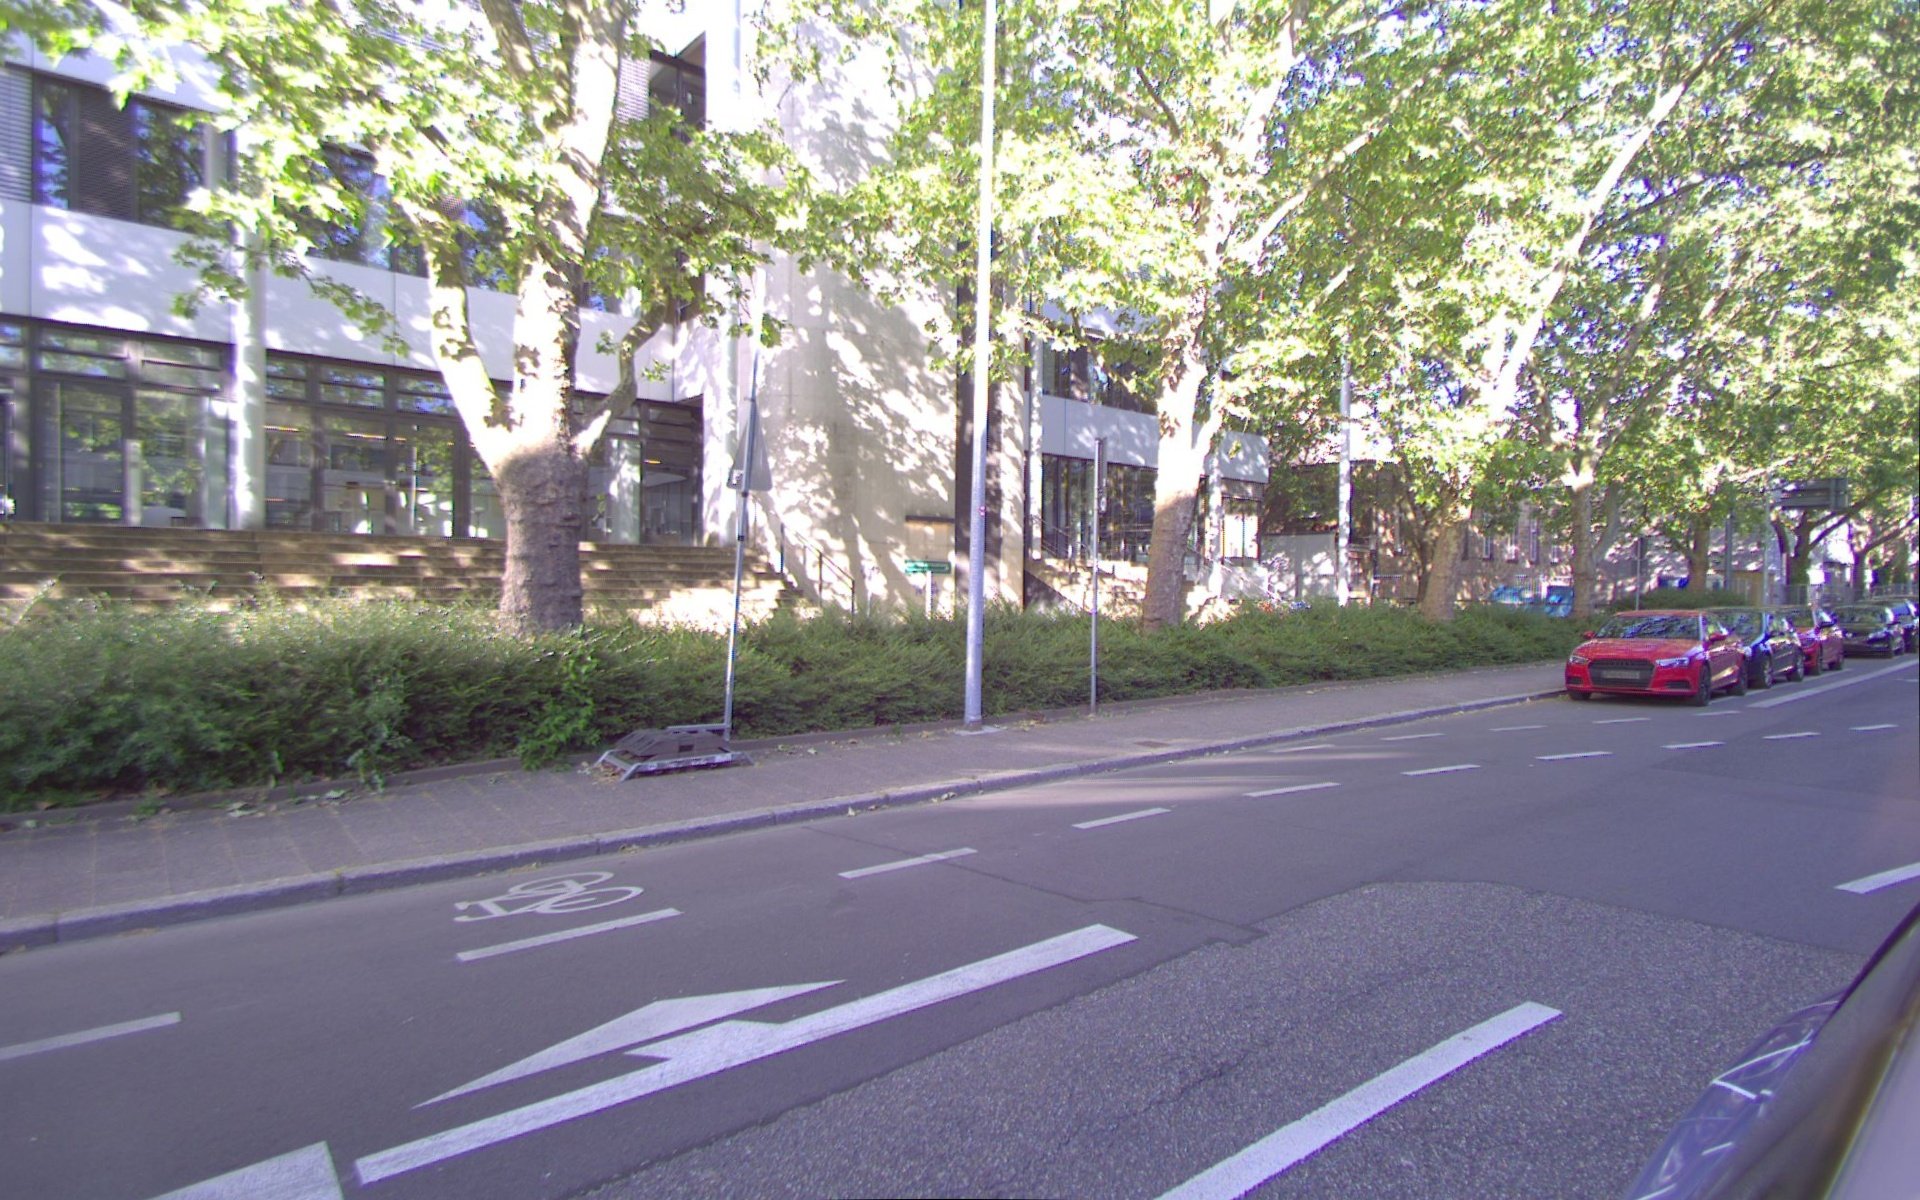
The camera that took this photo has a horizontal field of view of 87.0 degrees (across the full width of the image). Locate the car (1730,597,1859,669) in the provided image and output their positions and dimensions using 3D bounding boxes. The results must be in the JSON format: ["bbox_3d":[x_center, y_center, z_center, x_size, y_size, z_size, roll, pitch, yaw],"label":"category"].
[{"bbox_3d":[18.663,0.661,22.584,3.715,1.452,1.664,0,1,-41],"label":"car"}]

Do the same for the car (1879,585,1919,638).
[{"bbox_3d":[34.019,0.369,35.755,4.354,1.790,1.818,0,1,-41],"label":"car"}]

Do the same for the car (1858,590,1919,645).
[{"bbox_3d":[29.565,0.505,31.699,3.770,1.640,1.684,0,1,-41],"label":"car"}]

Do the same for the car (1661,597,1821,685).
[{"bbox_3d":[14.862,0.692,19.189,3.930,1.485,1.684,0,0,-41],"label":"car"}]

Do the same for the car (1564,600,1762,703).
[{"bbox_3d":[11.298,0.744,16.161,3.962,1.439,1.722,0,-2,-42],"label":"car"}]

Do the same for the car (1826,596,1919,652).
[{"bbox_3d":[26.065,0.637,28.745,3.930,1.469,1.684,0,1,-41],"label":"car"}]

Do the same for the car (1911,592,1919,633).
[{"bbox_3d":[38.756,0.488,39.772,3.801,1.581,1.684,0,1,-41],"label":"car"}]
